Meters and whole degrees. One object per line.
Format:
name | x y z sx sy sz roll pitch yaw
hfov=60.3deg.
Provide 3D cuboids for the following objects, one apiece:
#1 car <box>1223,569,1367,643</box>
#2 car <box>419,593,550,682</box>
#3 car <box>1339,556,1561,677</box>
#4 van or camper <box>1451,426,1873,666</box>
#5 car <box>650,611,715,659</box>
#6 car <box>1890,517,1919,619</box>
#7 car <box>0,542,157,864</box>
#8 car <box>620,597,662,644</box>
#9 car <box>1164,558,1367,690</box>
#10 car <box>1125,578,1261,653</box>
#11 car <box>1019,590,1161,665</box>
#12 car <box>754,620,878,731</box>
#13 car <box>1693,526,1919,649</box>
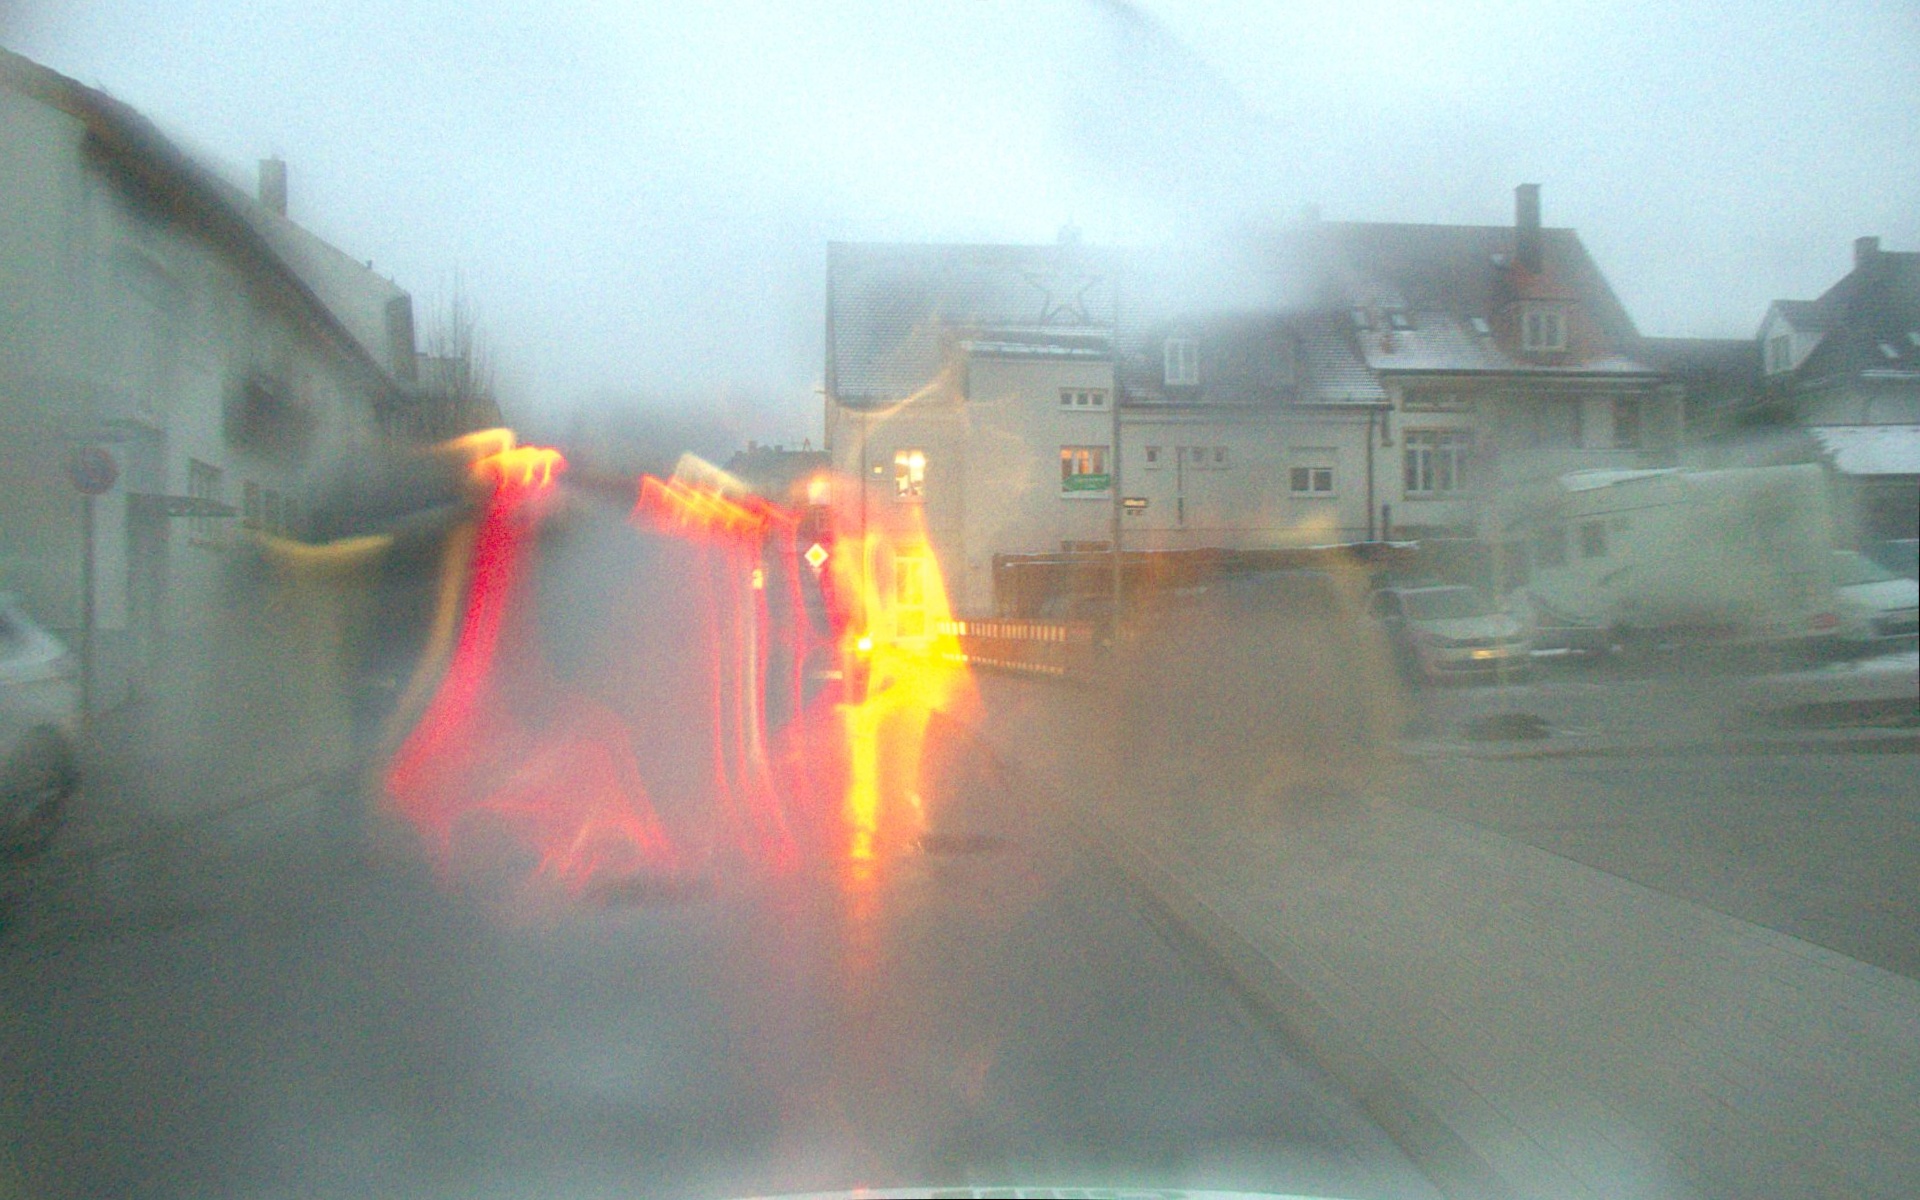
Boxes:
car | 7.535 0.107 37.634 1.788 1.487 4.541 -2 1 -8
car | -9.642 0.710 33.844 1.876 1.556 4.538 4 0 -8
car | 7.457 0.276 25.637 1.954 1.639 4.171 -3 -1 -3
van or camper | 10.579 -0.738 25.828 2.604 3.100 6.715 -4 0 -11
car | -9.988 1.237 59.383 1.960 1.616 3.984 1 0 -15
car | 16.437 -0.582 25.367 1.953 1.634 3.999 -5 0 -1
car | -6.552 0.588 8.853 1.953 1.876 5.302 1 0 -1
car | -15.690 0.976 81.321 1.958 2.241 3.989 1 0 -11
car | 4.642 0.337 25.815 1.955 1.796 4.345 -2 0 -5
car | 5.058 0.313 36.349 1.692 1.487 3.620 -3 1 -14
car | 2.708 0.543 35.159 1.856 1.488 3.617 -1 0 -16
car | -2.282 1.120 25.936 1.779 1.560 3.995 0 0 -6
car | 13.128 -0.198 25.102 1.755 1.580 3.994 -6 1 -7
